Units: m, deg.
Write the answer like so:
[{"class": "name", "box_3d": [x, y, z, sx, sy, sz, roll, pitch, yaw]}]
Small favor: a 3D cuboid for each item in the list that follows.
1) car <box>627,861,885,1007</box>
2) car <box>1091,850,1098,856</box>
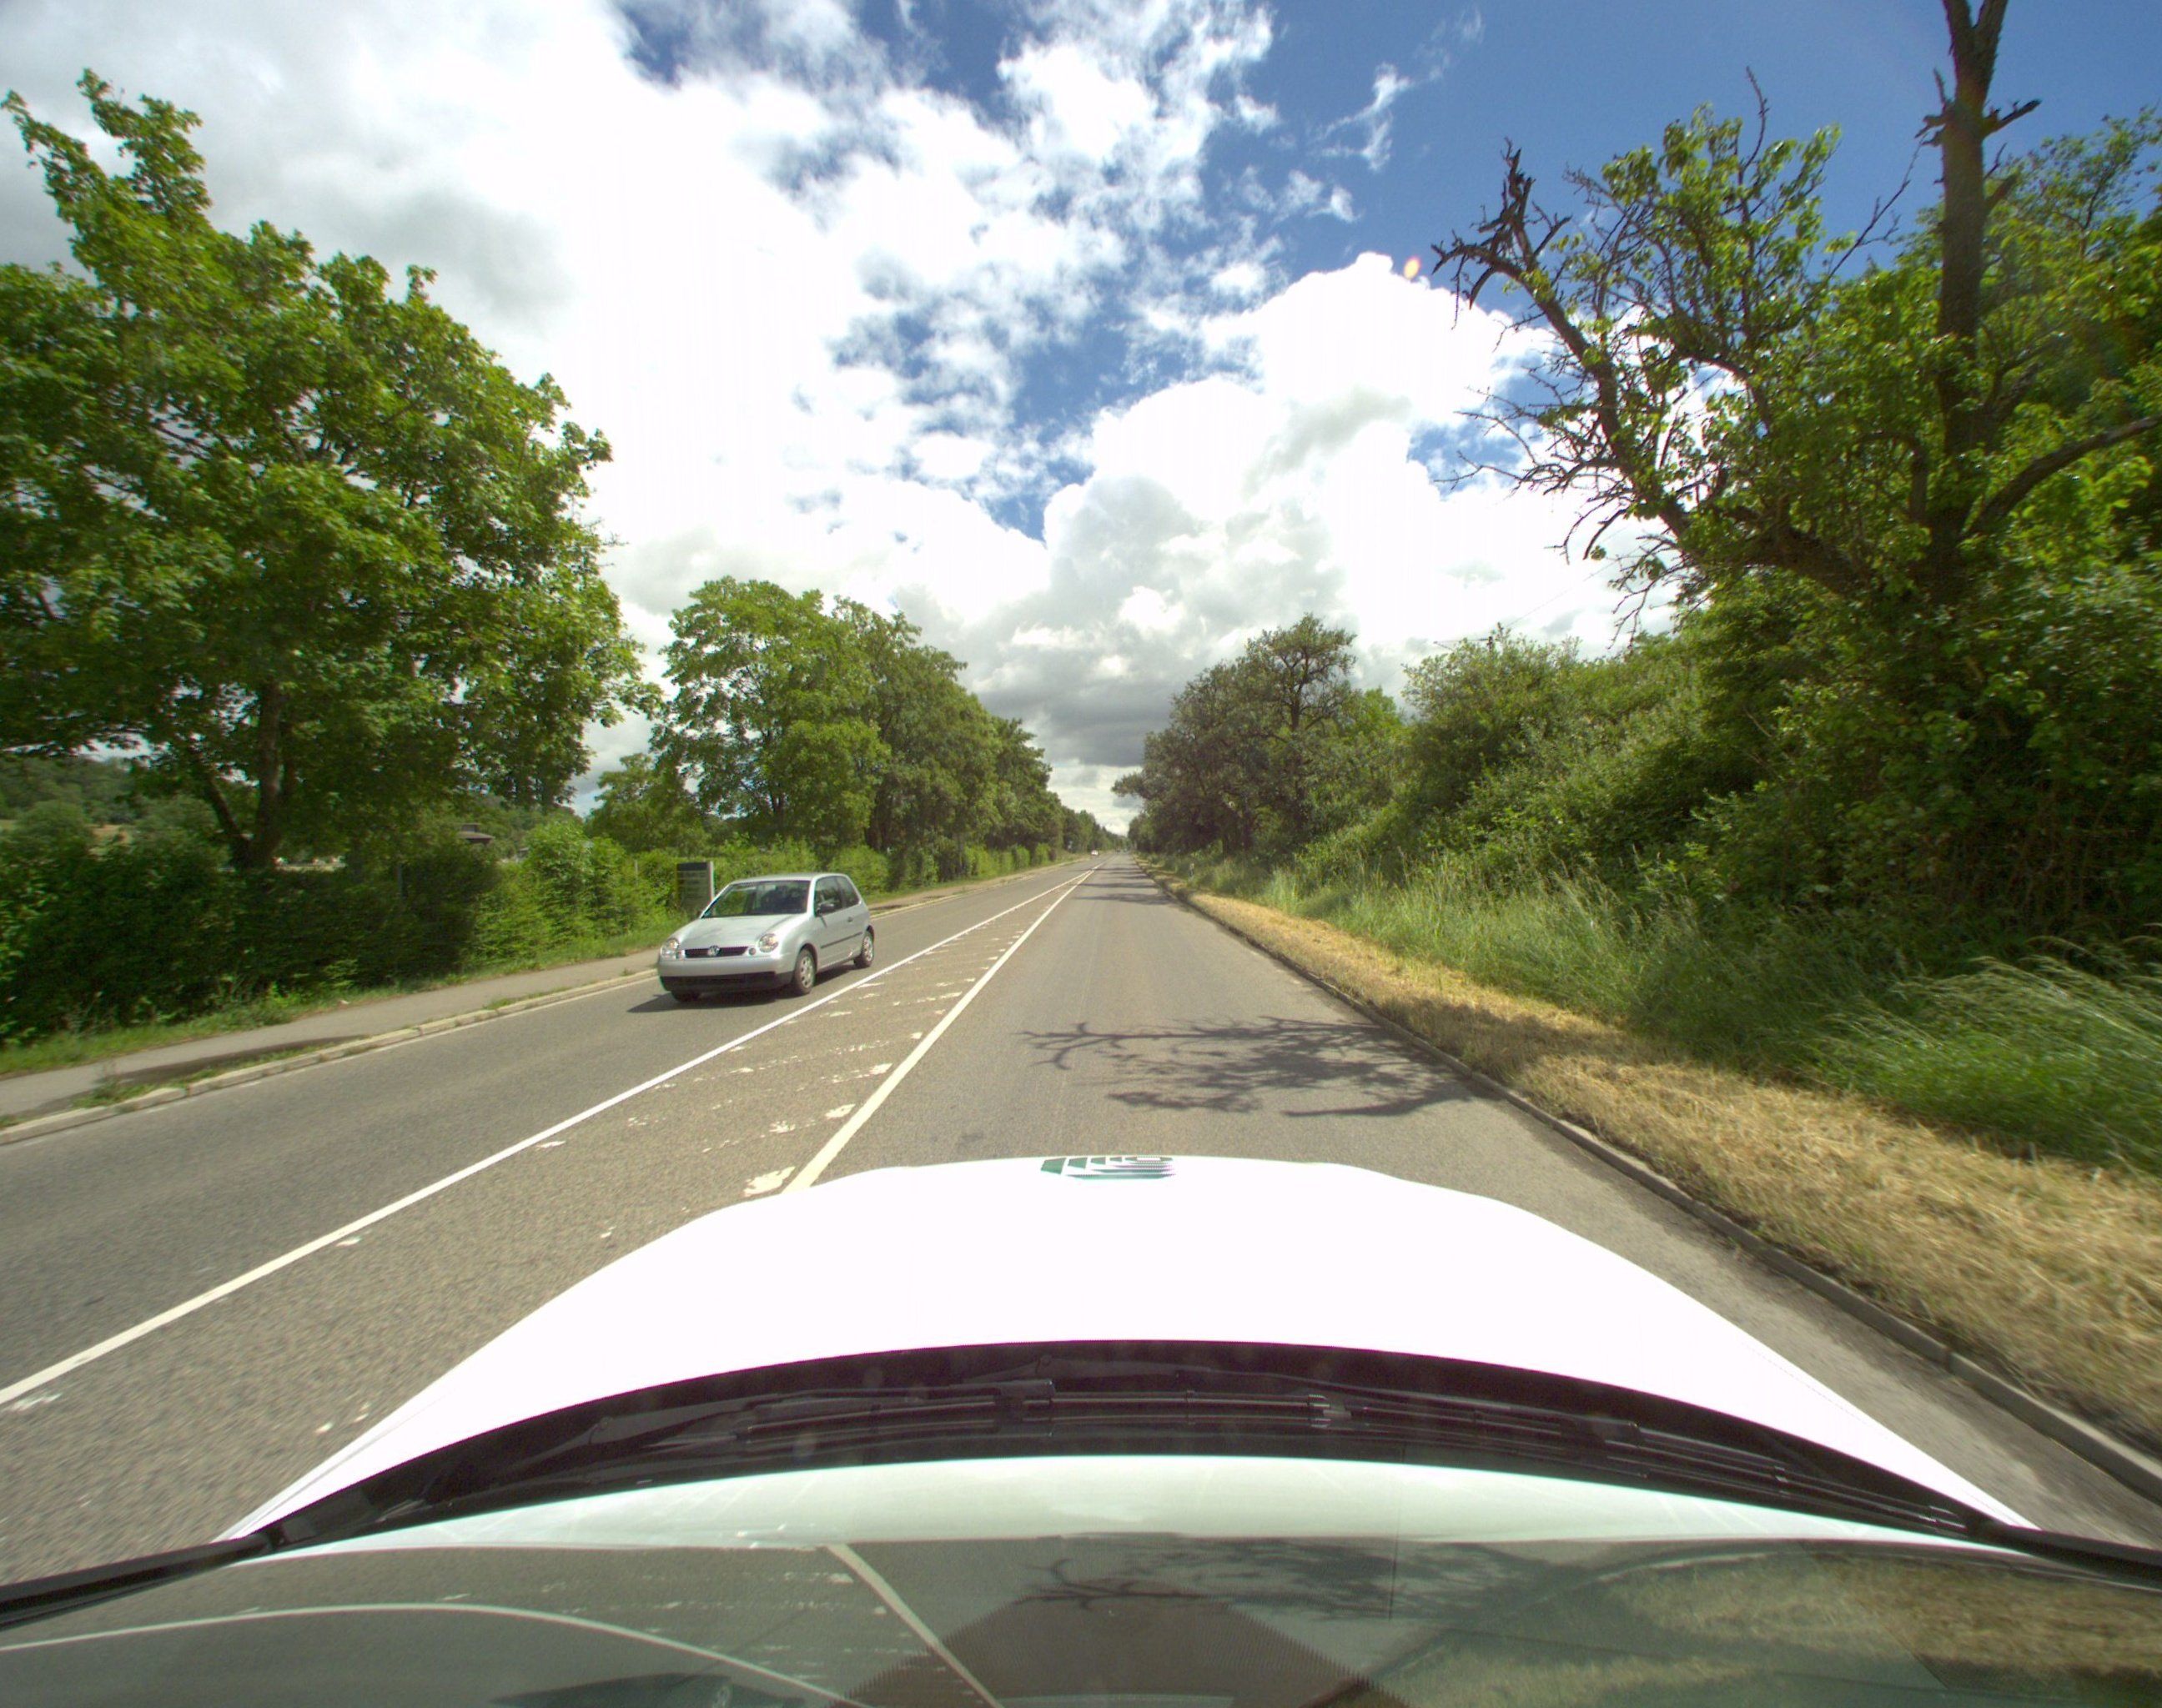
[{"class": "car", "box_3d": [-3.994, 0.890, 10.739, 1.654, 1.432, 3.696, -4, 0, 3]}, {"class": "car", "box_3d": [3.792, -0.180, 226.314, 1.790, 1.543, 3.958, -2, -1, 3]}]
